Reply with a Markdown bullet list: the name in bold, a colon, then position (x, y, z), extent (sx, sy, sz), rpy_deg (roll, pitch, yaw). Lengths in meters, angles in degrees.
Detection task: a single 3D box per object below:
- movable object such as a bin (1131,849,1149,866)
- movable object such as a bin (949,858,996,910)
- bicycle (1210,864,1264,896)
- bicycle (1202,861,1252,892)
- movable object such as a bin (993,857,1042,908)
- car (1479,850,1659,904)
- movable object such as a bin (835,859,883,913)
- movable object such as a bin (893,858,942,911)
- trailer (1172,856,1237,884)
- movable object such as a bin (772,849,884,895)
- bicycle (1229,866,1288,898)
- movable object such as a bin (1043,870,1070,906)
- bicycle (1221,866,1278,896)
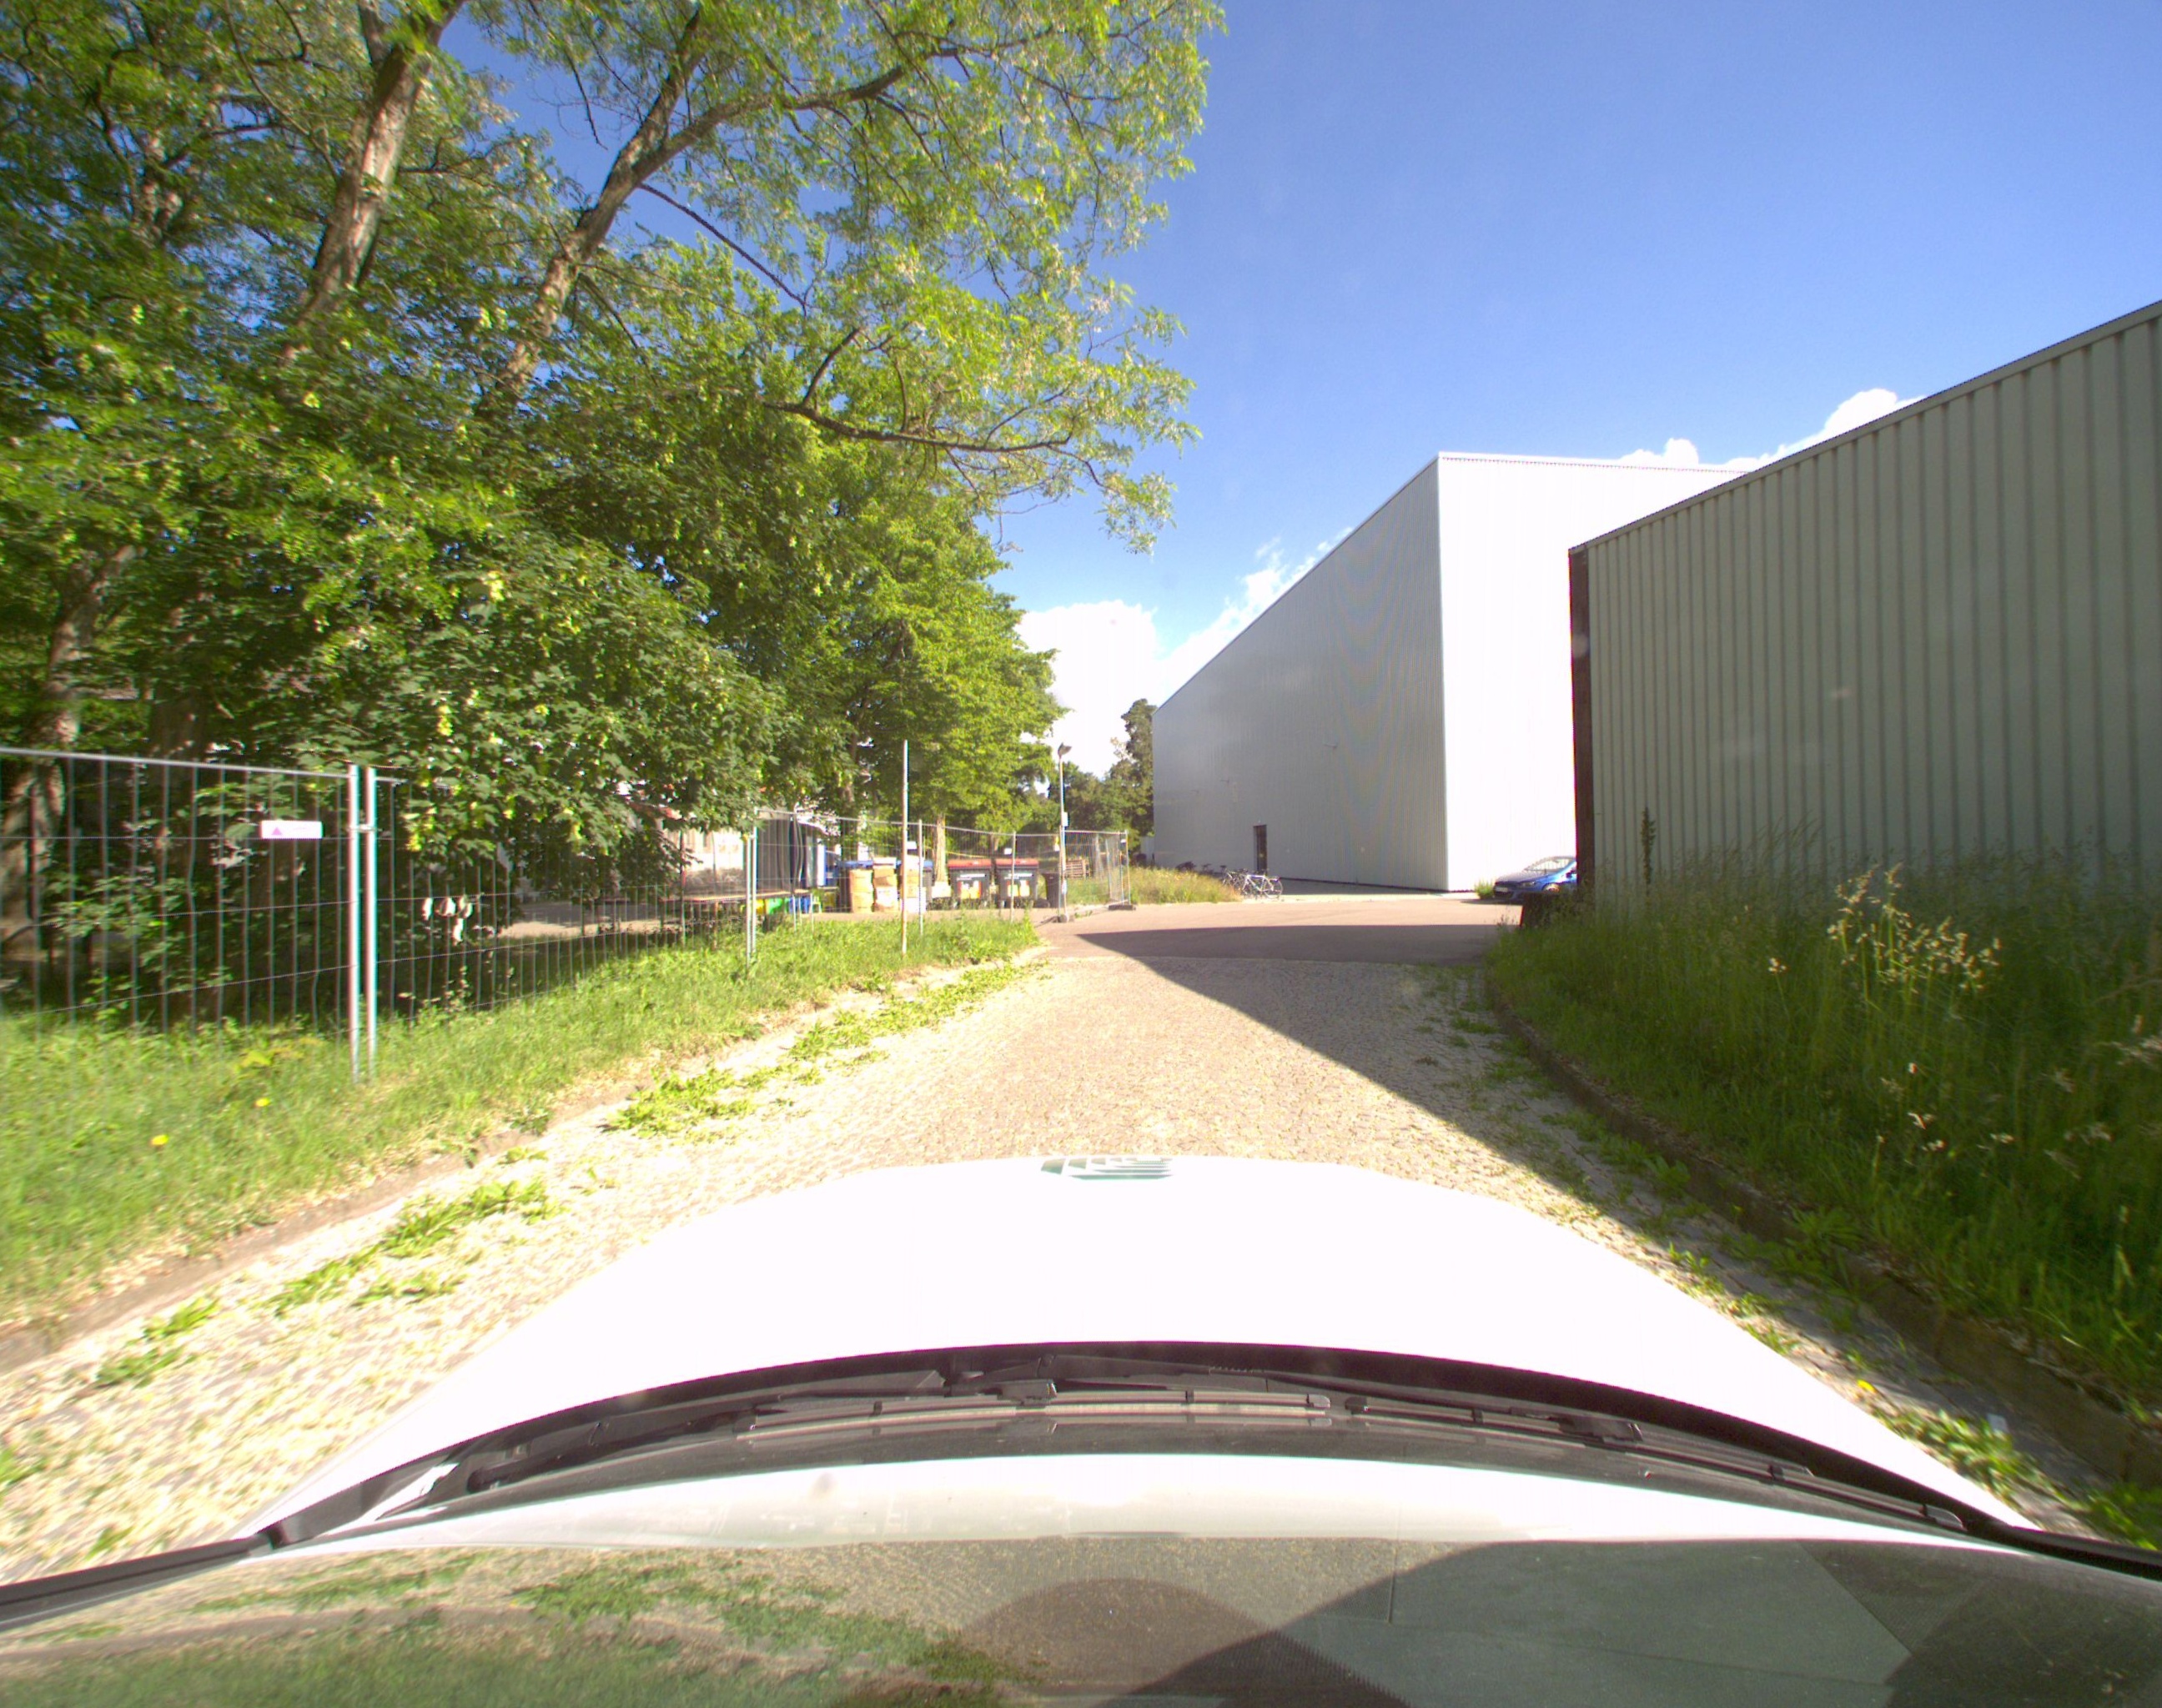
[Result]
- **movable object such as a bin**: position (6.053, 0.348, 84.002), extent (1.361, 1.656, 2.838), rpy_deg (-2, 0, -4)
- **movable object such as a bin**: position (-3.133, 0.839, 23.416), extent (1.287, 1.426, 1.029), rpy_deg (-2, 0, -9)
- **bicycle**: position (5.694, 0.938, 29.764), extent (1.882, 1.082, 0.432), rpy_deg (-2, 0, -8)
- **bicycle**: position (5.801, 0.884, 32.303), extent (1.882, 1.126, 0.432), rpy_deg (-2, 0, -8)
- **movable object such as a bin**: position (-1.850, 0.813, 23.649), extent (1.288, 1.426, 1.029), rpy_deg (-2, 0, -11)
- **car**: position (13.571, 0.605, 22.741), extent (4.152, 1.384, 1.750), rpy_deg (-1, 0, -8)
- **movable object such as a bin**: position (-6.230, 0.879, 22.894), extent (1.082, 1.438, 1.054), rpy_deg (-2, 0, -5)
- **movable object such as a bin**: position (-4.654, 0.842, 23.218), extent (1.287, 1.426, 1.029), rpy_deg (-2, 0, -9)
- **trailer**: position (5.718, 0.717, 37.867), extent (2.709, 1.200, 1.242), rpy_deg (-2, 0, -8)
- **movable object such as a bin**: position (-12.074, 0.838, 39.151), extent (4.870, 1.970, 1.926), rpy_deg (-2, 0, -10)
- **bicycle**: position (5.933, 0.933, 27.233), extent (1.882, 0.978, 0.432), rpy_deg (-2, 0, -8)
- **movable object such as a bin**: position (-0.712, 0.986, 23.646), extent (0.638, 1.007, 0.606), rpy_deg (-2, 0, 8)
- **bicycle**: position (5.899, 0.944, 28.496), extent (1.882, 0.978, 0.432), rpy_deg (-2, 0, -8)
